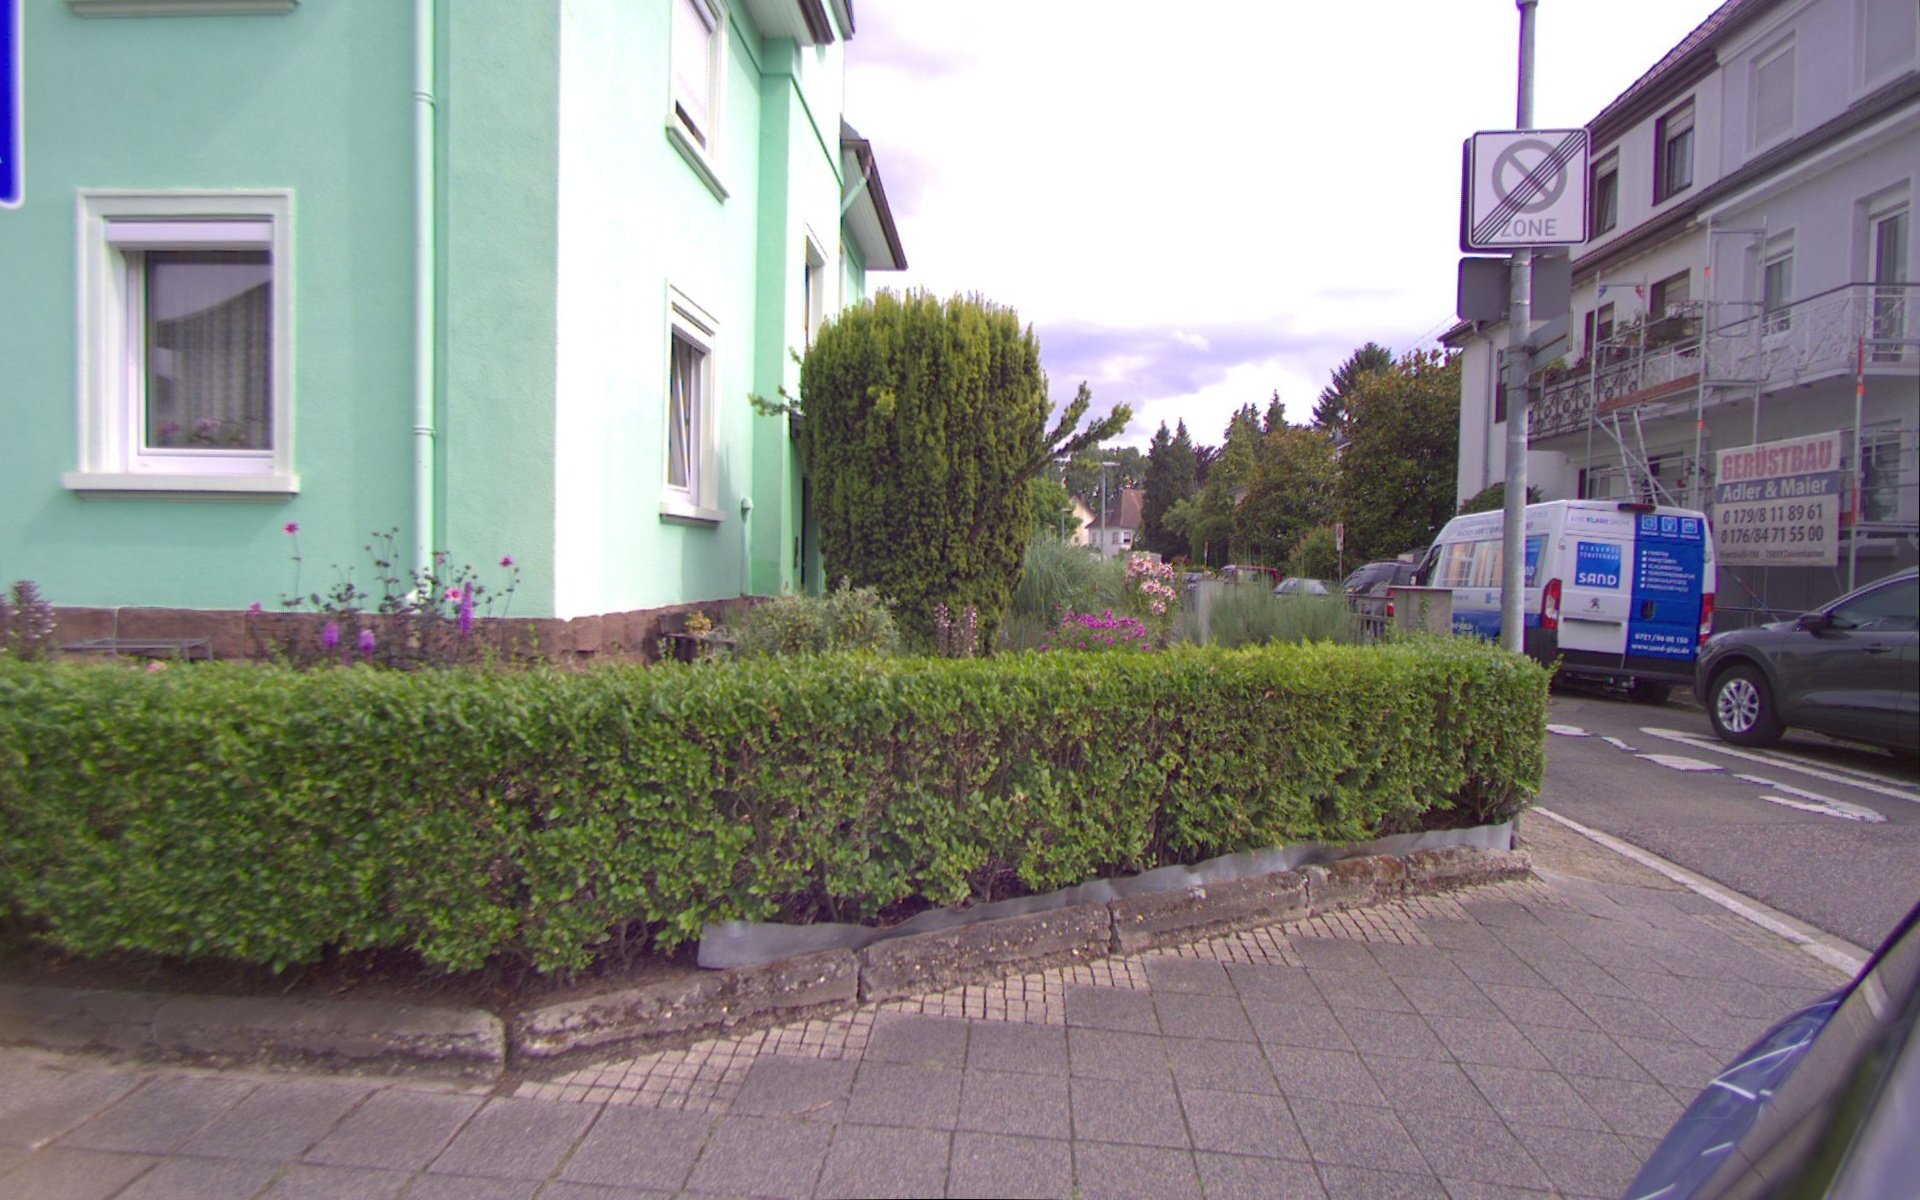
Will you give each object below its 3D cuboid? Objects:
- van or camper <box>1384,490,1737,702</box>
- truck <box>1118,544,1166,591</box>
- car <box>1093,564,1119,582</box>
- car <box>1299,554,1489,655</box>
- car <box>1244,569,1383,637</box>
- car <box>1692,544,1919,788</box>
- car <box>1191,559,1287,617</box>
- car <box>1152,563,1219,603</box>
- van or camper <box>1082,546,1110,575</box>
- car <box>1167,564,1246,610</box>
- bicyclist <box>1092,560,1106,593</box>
[{"bbox_3d":[8.211,-0.159,14.597,2.159,2.489,5.053,1,2,3],"label":"van or camper"},{"bbox_3d":[10.909,-1.967,61.080,2.097,2.690,4.585,1,2,1],"label":"truck"},{"bbox_3d":[11.654,-2.166,80.997,1.794,1.393,3.997,1,2,4],"label":"car"},{"bbox_3d":[8.584,-0.010,20.493,1.962,1.793,4.343,1,2,1],"label":"car"},{"bbox_3d":[8.777,0.004,25.551,1.962,1.473,4.343,1,2,1],"label":"car"},{"bbox_3d":[7.879,0.489,7.329,1.962,1.748,4.343,1,2,1],"label":"car"},{"bbox_3d":[9.115,-0.457,33.442,1.962,1.771,4.343,1,2,1],"label":"car"},{"bbox_3d":[9.784,-0.795,44.321,1.962,1.610,4.343,1,2,1],"label":"car"},{"bbox_3d":[12.559,-3.636,93.767,2.109,2.572,5.012,1,2,3],"label":"van or camper"},{"bbox_3d":[9.282,-0.549,38.502,1.962,1.610,4.343,1,2,1],"label":"car"},{"bbox_3d":[7.322,-1.243,53.290,0.686,1.687,0.974,0,1,4],"label":"bicyclist"}]
